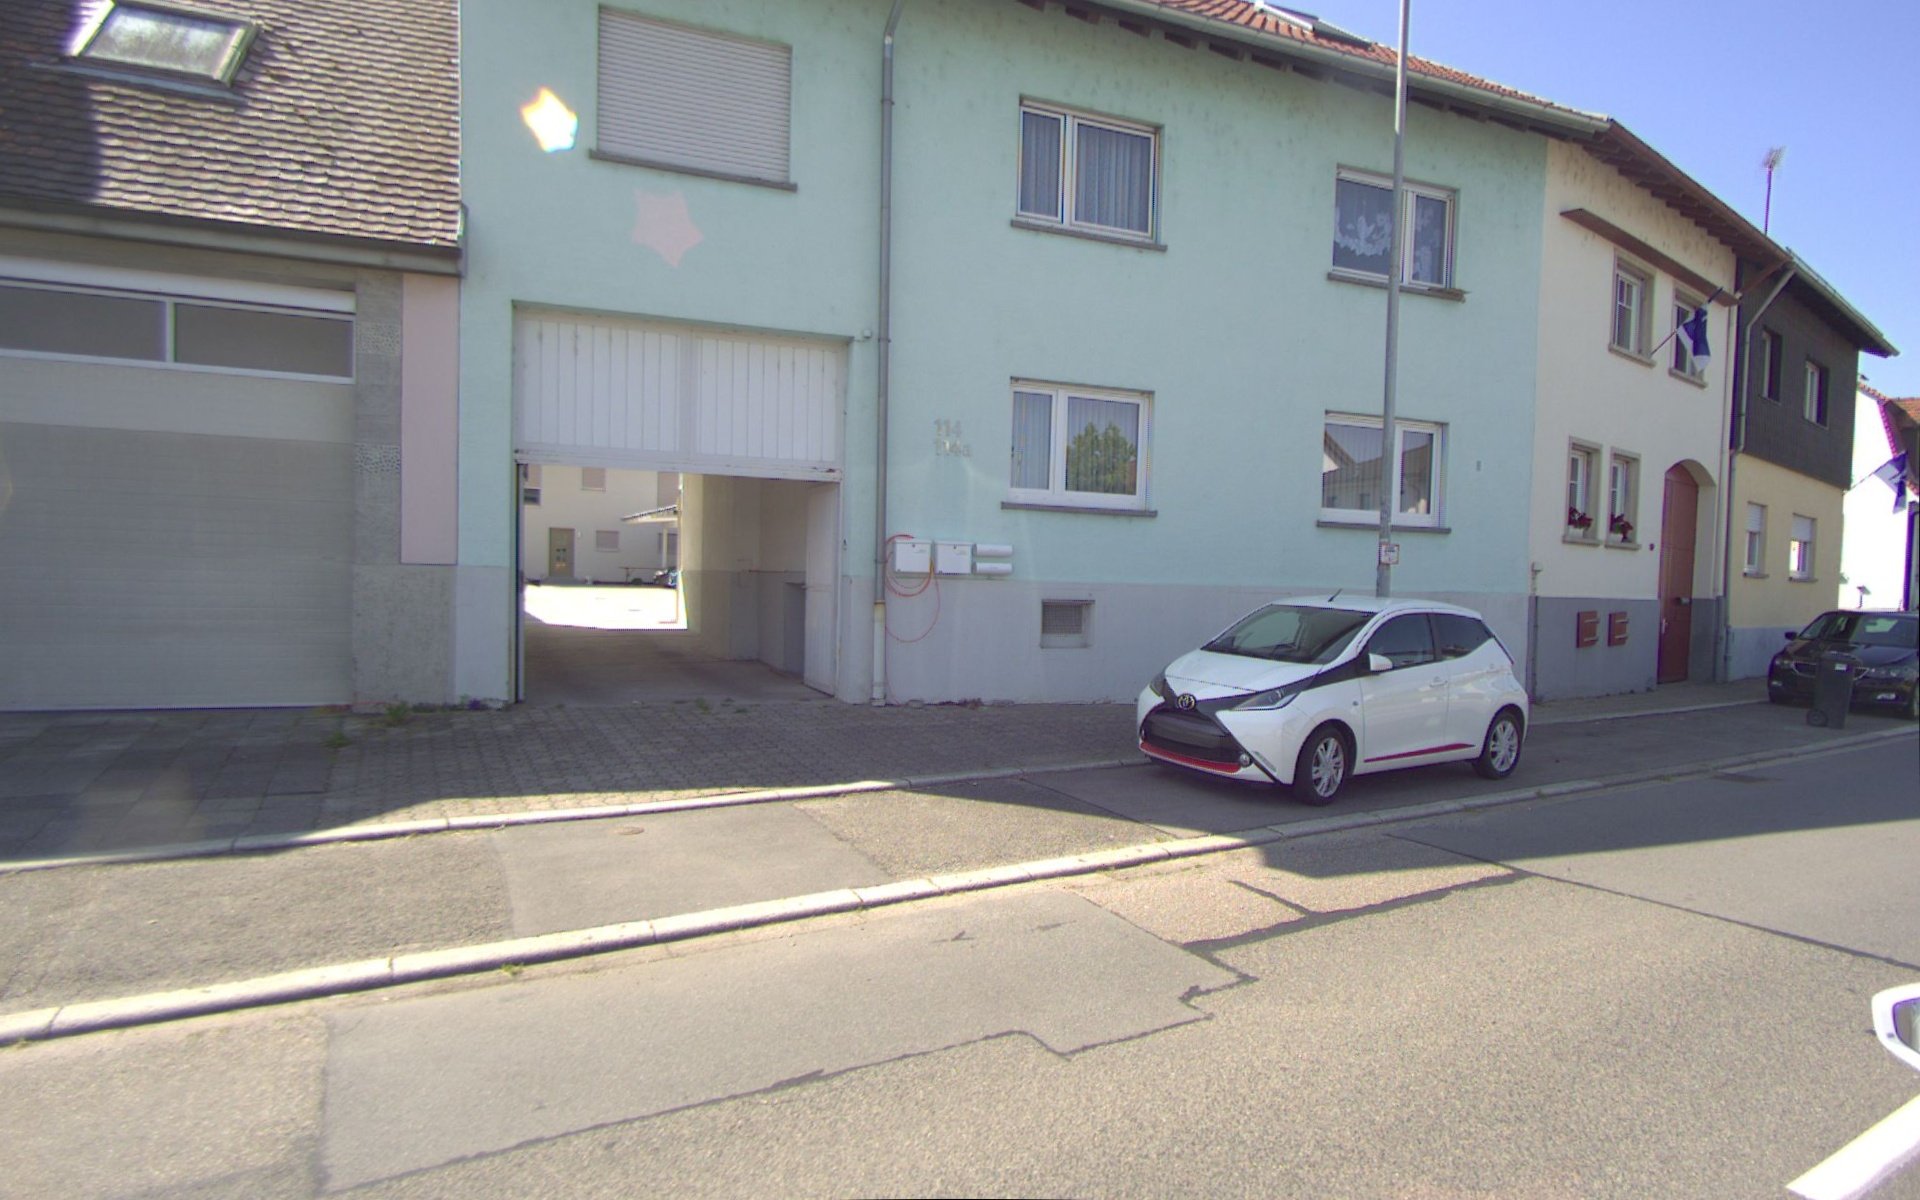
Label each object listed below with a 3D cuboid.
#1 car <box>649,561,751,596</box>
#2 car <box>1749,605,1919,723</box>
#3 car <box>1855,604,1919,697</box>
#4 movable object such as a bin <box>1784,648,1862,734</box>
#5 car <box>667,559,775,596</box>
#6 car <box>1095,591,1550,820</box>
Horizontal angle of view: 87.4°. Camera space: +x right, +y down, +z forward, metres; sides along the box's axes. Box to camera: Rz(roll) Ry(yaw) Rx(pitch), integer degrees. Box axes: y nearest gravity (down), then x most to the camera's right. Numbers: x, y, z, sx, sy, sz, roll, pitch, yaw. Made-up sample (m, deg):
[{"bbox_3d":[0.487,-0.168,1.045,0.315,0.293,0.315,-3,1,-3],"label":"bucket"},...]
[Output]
[{"bbox_3d":[-10.939,-0.888,42.311,3.943,1.360,1.795,1,0,-23],"label":"car"},{"bbox_3d":[13.724,0.886,15.189,3.955,1.456,1.667,1,3,-35],"label":"car"},{"bbox_3d":[17.899,0.913,18.180,3.743,1.521,1.629,1,3,-35],"label":"car"},{"bbox_3d":[10.782,1.119,12.544,0.819,0.941,0.546,0,5,-41],"label":"movable object such as a bin"},{"bbox_3d":[-9.445,-0.859,39.684,3.943,1.360,1.795,1,0,-23],"label":"car"},{"bbox_3d":[3.054,0.718,8.301,3.609,1.481,1.674,1,1,-33],"label":"car"}]
